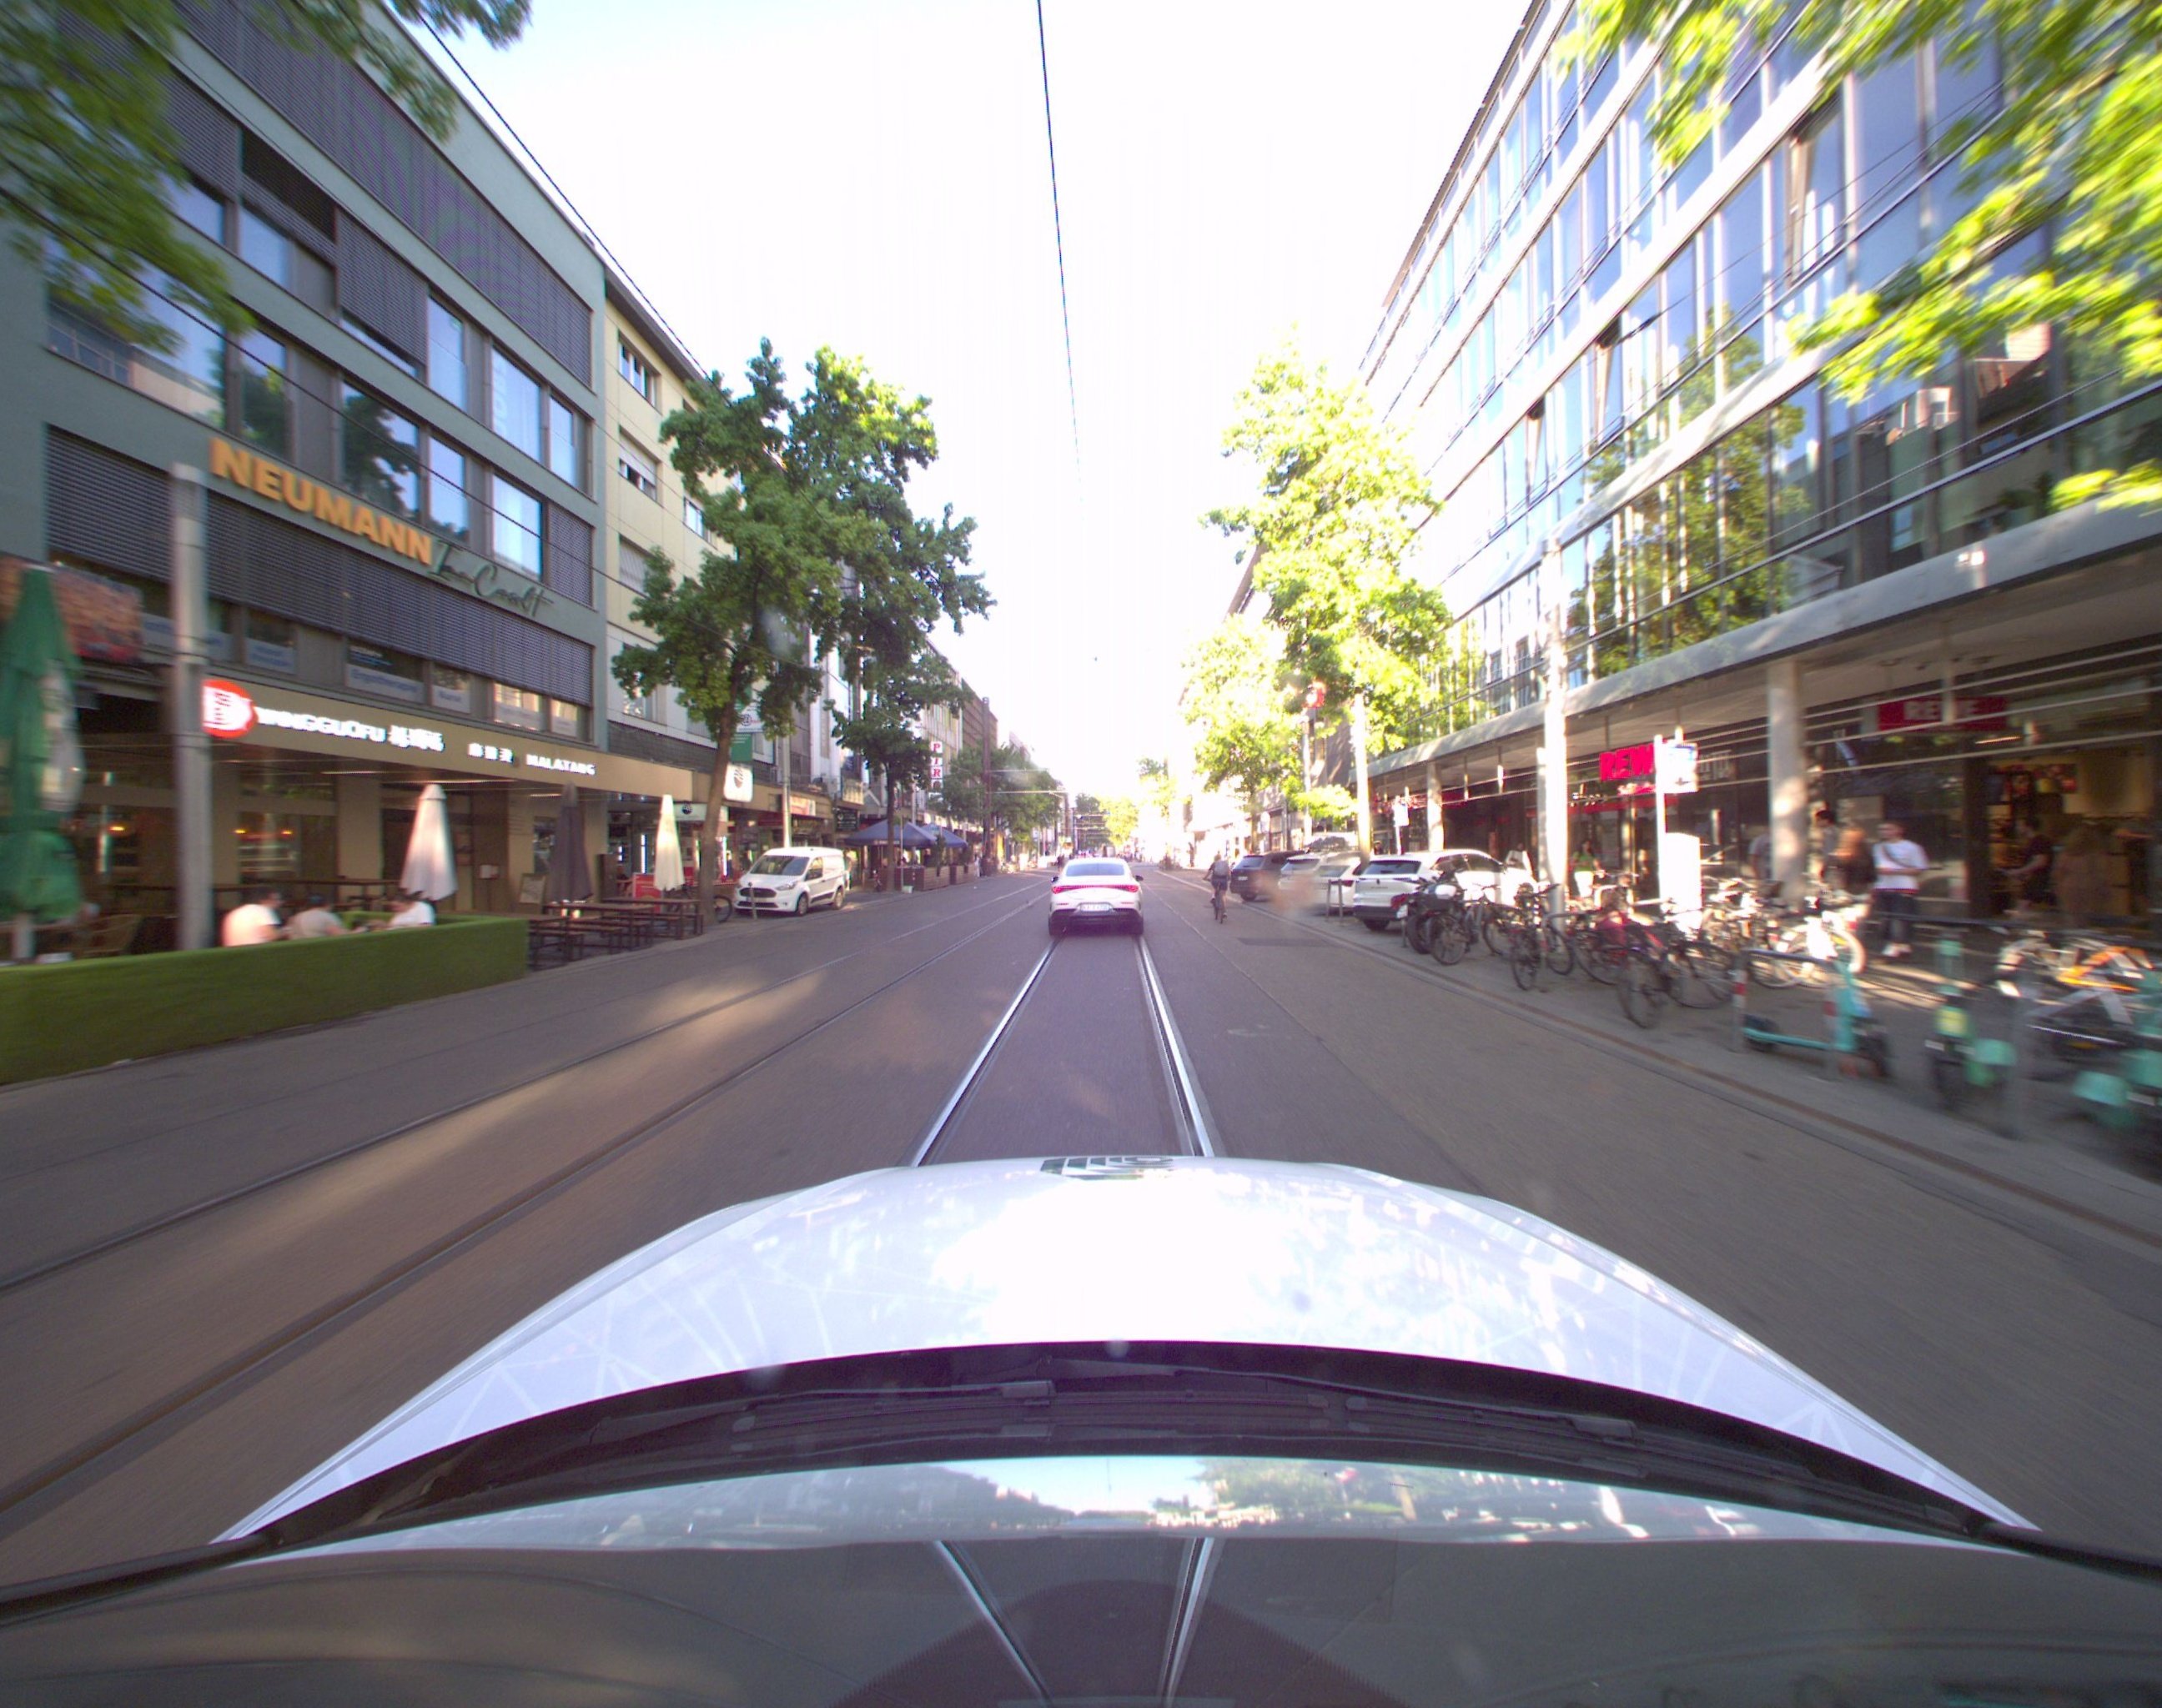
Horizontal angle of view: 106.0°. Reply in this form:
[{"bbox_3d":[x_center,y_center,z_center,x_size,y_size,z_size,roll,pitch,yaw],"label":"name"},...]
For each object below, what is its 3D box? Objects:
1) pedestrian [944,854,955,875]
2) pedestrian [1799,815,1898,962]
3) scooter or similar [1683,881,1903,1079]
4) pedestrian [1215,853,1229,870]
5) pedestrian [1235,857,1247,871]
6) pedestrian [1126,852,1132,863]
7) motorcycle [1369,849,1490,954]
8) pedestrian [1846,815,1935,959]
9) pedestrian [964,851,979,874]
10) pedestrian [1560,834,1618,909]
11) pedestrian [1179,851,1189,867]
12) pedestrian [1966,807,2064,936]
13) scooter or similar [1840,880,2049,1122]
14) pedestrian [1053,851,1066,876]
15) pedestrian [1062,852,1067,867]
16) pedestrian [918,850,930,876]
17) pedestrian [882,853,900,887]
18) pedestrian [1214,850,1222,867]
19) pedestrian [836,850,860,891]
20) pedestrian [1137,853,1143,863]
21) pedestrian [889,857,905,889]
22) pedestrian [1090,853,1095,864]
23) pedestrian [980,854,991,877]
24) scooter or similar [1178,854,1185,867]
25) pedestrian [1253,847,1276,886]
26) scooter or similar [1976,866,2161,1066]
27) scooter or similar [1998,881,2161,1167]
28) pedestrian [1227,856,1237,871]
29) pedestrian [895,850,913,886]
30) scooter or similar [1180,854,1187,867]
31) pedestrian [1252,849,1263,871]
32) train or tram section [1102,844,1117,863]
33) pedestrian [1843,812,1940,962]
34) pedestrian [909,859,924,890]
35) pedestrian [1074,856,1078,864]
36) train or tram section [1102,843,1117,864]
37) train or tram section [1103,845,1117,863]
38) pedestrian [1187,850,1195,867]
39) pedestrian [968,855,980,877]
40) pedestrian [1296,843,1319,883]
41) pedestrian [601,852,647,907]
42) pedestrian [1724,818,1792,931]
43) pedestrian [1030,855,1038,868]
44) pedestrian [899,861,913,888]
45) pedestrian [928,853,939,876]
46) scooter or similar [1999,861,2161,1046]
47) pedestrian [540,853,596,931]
[{"bbox_3d":[-9.950,0.790,61.424,0.620,1.526,0.810,1,0,2],"label":"pedestrian"},{"bbox_3d":[9.119,0.394,9.691,0.679,1.696,0.548,-1,0,-11],"label":"pedestrian"},{"bbox_3d":[5.323,0.876,6.190,0.449,1.276,1.307,-5,0,1],"label":"scooter or similar"},{"bbox_3d":[11.631,0.598,67.329,0.836,1.377,0.772,0,0,-21],"label":"pedestrian"},{"bbox_3d":[12.243,0.743,62.410,0.832,1.031,0.697,-1,0,7],"label":"pedestrian"},{"bbox_3d":[8.442,0.585,141.980,0.957,1.785,0.804,-3,0,1],"label":"pedestrian"},{"bbox_3d":[5.813,0.741,13.505,2.332,1.510,0.849,-3,-1,-42],"label":"motorcycle"},{"bbox_3d":[9.834,0.390,9.911,0.514,1.696,0.551,-1,0,6],"label":"pedestrian"},{"bbox_3d":[-8.388,0.677,62.445,0.842,1.741,0.839,1,0,22],"label":"pedestrian"},{"bbox_3d":[11.369,0.378,18.254,0.711,1.624,0.883,-2,0,3],"label":"pedestrian"},{"bbox_3d":[11.887,0.592,93.891,0.896,1.744,0.690,-4,0,1],"label":"pedestrian"},{"bbox_3d":[13.082,0.235,11.423,0.596,1.743,0.626,-2,0,0],"label":"pedestrian"},{"bbox_3d":[5.557,0.862,5.233,1.311,1.276,0.559,-4,-1,-30],"label":"scooter or similar"},{"bbox_3d":[-1.593,0.702,59.815,0.838,1.801,0.791,1,0,3],"label":"pedestrian"},{"bbox_3d":[-2.193,0.762,107.783,0.570,1.929,0.540,-1,0,-3],"label":"pedestrian"},{"bbox_3d":[-10.735,0.605,55.708,0.595,1.745,0.672,1,0,3],"label":"pedestrian"},{"bbox_3d":[-8.985,0.757,38.491,0.671,1.607,0.720,0,0,1],"label":"pedestrian"},{"bbox_3d":[12.905,0.420,76.890,0.634,1.653,0.781,-1,0,3],"label":"pedestrian"},{"bbox_3d":[-9.920,0.683,34.642,0.664,1.686,1.005,1,0,1],"label":"pedestrian"},{"bbox_3d":[10.456,0.762,144.352,0.957,1.785,0.804,-3,0,1],"label":"pedestrian"},{"bbox_3d":[-8.208,0.845,36.305,0.547,1.429,0.583,0,0,1],"label":"pedestrian"},{"bbox_3d":[1.880,0.736,132.024,0.797,1.782,0.849,1,0,1],"label":"pedestrian"},{"bbox_3d":[-6.541,0.782,55.713,0.620,1.550,0.853,1,0,2],"label":"pedestrian"},{"bbox_3d":[10.130,0.702,82.293,0.527,1.277,0.658,-3,0,-9],"label":"scooter or similar"},{"bbox_3d":[8.122,0.543,36.014,0.672,1.685,0.700,-3,0,35],"label":"pedestrian"},{"bbox_3d":[7.428,0.747,5.557,0.634,1.293,1.662,-3,0,-35],"label":"scooter or similar"},{"bbox_3d":[5.568,0.842,4.449,0.452,1.276,1.315,-5,-1,39],"label":"scooter or similar"},{"bbox_3d":[11.823,0.728,63.760,0.663,1.198,0.786,-1,0,7],"label":"pedestrian"},{"bbox_3d":[-8.764,0.688,40.302,0.715,1.724,0.675,0,0,1],"label":"pedestrian"},{"bbox_3d":[10.245,0.604,81.496,0.491,1.277,0.658,-3,0,-9],"label":"scooter or similar"},{"bbox_3d":[14.260,0.513,65.640,0.713,1.741,0.836,-1,0,2],"label":"pedestrian"},{"bbox_3d":[5.689,-0.022,160.307,2.684,3.516,12.551,-1,0,2],"label":"train or tram section"},{"bbox_3d":[9.854,0.392,9.913,0.521,1.750,0.559,-3,-1,4],"label":"pedestrian"},{"bbox_3d":[-7.316,0.894,36.231,0.547,1.356,0.583,0,0,1],"label":"pedestrian"},{"bbox_3d":[-0.855,1.101,151.092,0.657,1.599,0.573,-1,0,1],"label":"pedestrian"},{"bbox_3d":[5.189,-0.035,147.757,2.684,3.516,12.551,-1,0,2],"label":"train or tram section"},{"bbox_3d":[6.155,-0.004,172.145,2.684,3.516,11.149,-1,0,2],"label":"train or tram section"},{"bbox_3d":[12.646,0.518,93.847,0.698,1.812,1.033,-4,0,2],"label":"pedestrian"},{"bbox_3d":[-7.292,0.799,55.609,0.620,1.509,0.834,1,0,2],"label":"pedestrian"},{"bbox_3d":[9.972,0.407,35.879,0.680,1.731,0.636,-4,0,44],"label":"pedestrian"},{"bbox_3d":[-12.620,0.689,22.511,0.767,1.467,0.765,2,0,-1],"label":"pedestrian"},{"bbox_3d":[10.878,0.318,13.098,0.555,1.750,0.525,-3,-1,2],"label":"pedestrian"},{"bbox_3d":[-6.064,0.981,105.892,0.901,1.698,0.849,-1,0,2],"label":"pedestrian"},{"bbox_3d":[-8.087,0.930,37.615,0.493,1.228,0.535,0,0,1],"label":"pedestrian"},{"bbox_3d":[-10.087,0.715,55.694,0.595,1.533,0.672,1,0,3],"label":"pedestrian"},{"bbox_3d":[7.963,0.709,5.881,0.565,1.293,1.662,-3,0,-35],"label":"scooter or similar"},{"bbox_3d":[-10.634,0.767,16.899,0.645,1.574,0.700,2,0,2],"label":"pedestrian"}]
